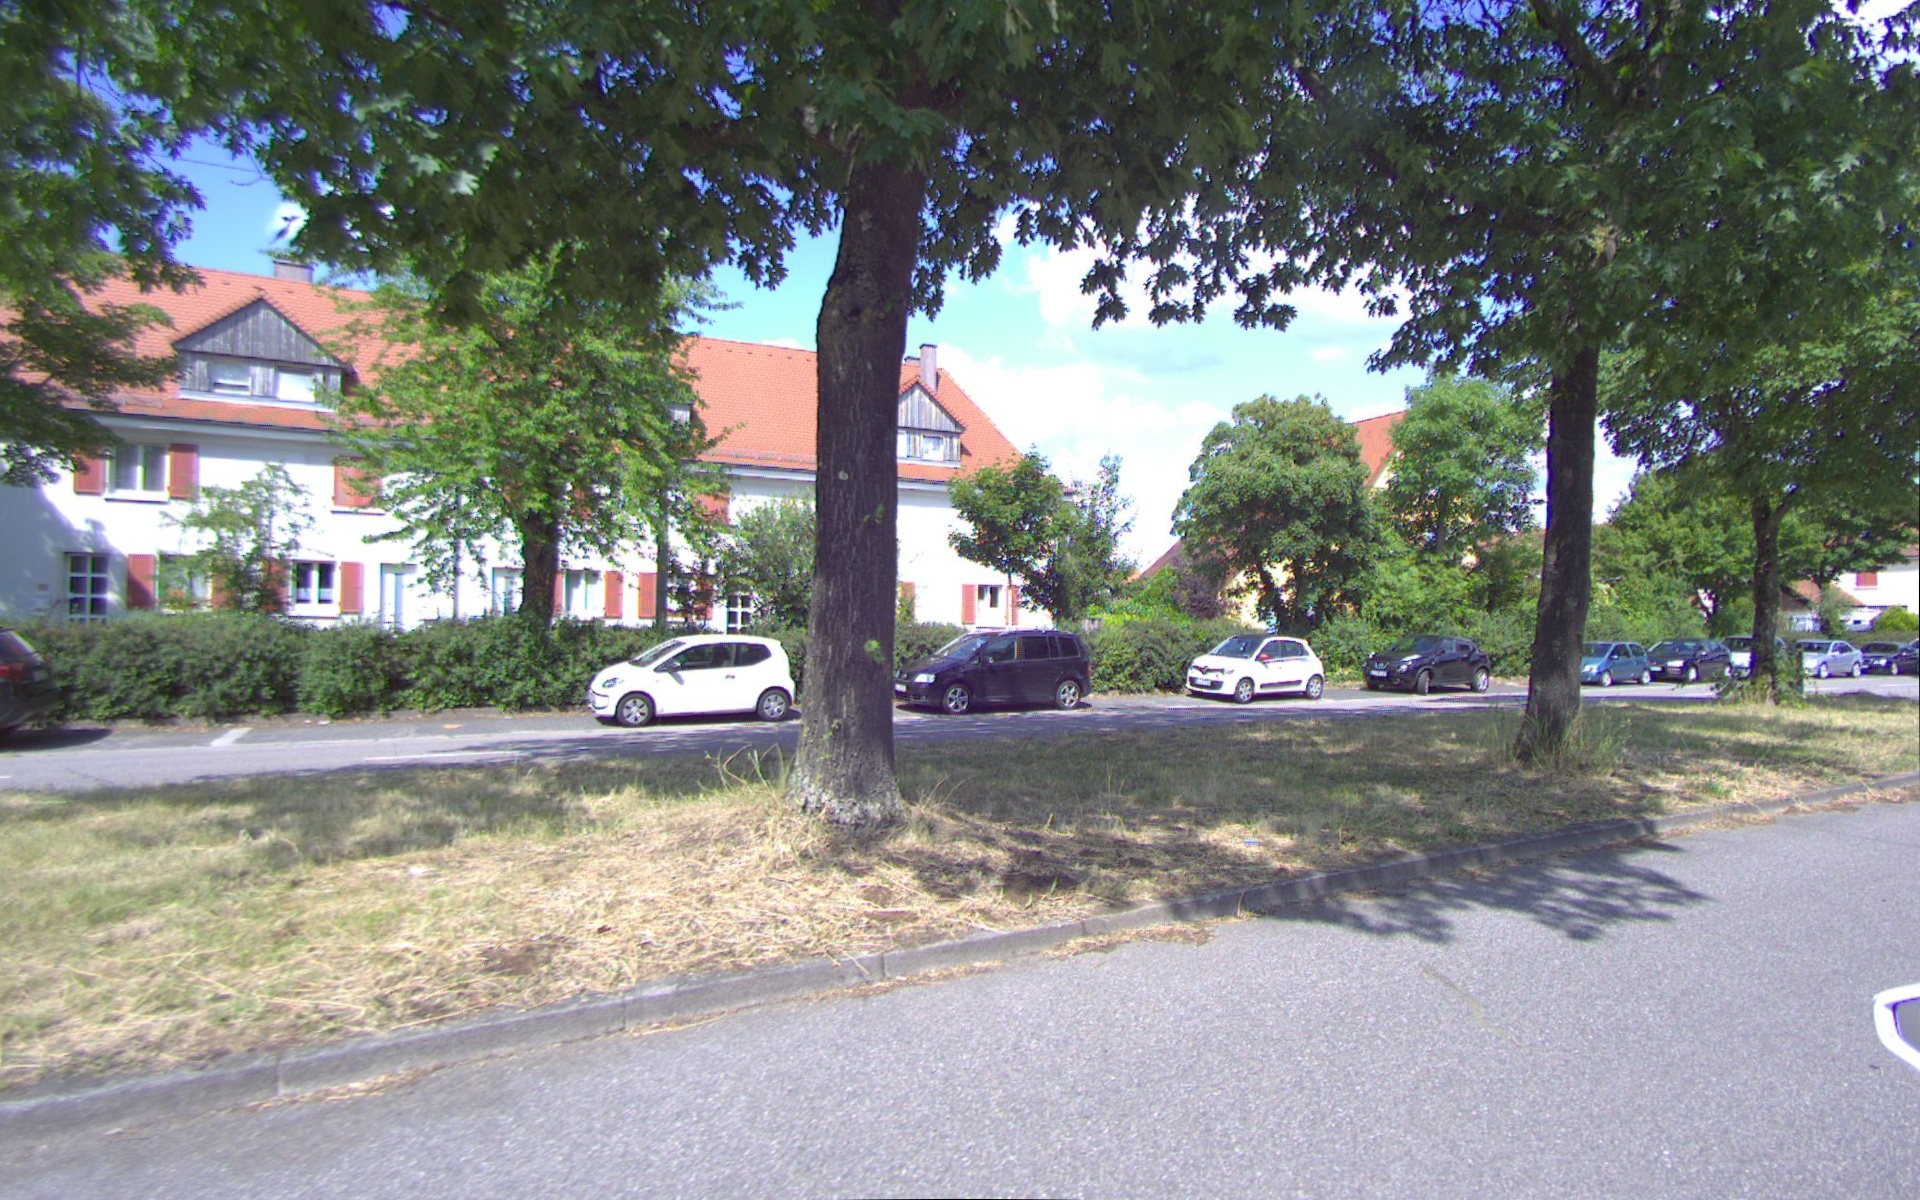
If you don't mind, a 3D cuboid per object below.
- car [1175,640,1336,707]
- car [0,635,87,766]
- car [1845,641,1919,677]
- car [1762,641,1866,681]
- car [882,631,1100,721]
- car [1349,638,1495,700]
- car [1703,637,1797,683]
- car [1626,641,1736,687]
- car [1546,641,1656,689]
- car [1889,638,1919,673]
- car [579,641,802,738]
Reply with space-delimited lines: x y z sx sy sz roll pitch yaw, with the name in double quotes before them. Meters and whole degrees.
"car" 7.332 1.780 24.818 3.802 1.471 1.652 2 0 -30
"car" -13.751 1.242 12.558 3.953 1.572 1.758 2 0 -30
"car" 38.854 2.425 41.742 4.526 1.324 1.630 1 0 -28
"car" 33.192 2.350 39.030 4.473 1.388 1.505 1 0 -28
"car" 0.680 1.516 20.729 4.264 1.634 1.652 2 0 -30
"car" 12.797 1.860 27.799 4.055 1.501 1.652 1 0 -30
"car" 29.041 2.174 36.917 3.697 1.578 1.396 1 0 -30
"car" 24.764 2.150 34.468 4.304 1.413 1.396 1 0 -30
"car" 20.695 2.081 32.402 3.436 1.413 1.555 2 0 -30
"car" 43.641 2.500 45.025 4.072 1.505 1.682 2 0 -28
"car" -4.738 1.518 17.739 3.494 1.480 1.586 2 0 -30
